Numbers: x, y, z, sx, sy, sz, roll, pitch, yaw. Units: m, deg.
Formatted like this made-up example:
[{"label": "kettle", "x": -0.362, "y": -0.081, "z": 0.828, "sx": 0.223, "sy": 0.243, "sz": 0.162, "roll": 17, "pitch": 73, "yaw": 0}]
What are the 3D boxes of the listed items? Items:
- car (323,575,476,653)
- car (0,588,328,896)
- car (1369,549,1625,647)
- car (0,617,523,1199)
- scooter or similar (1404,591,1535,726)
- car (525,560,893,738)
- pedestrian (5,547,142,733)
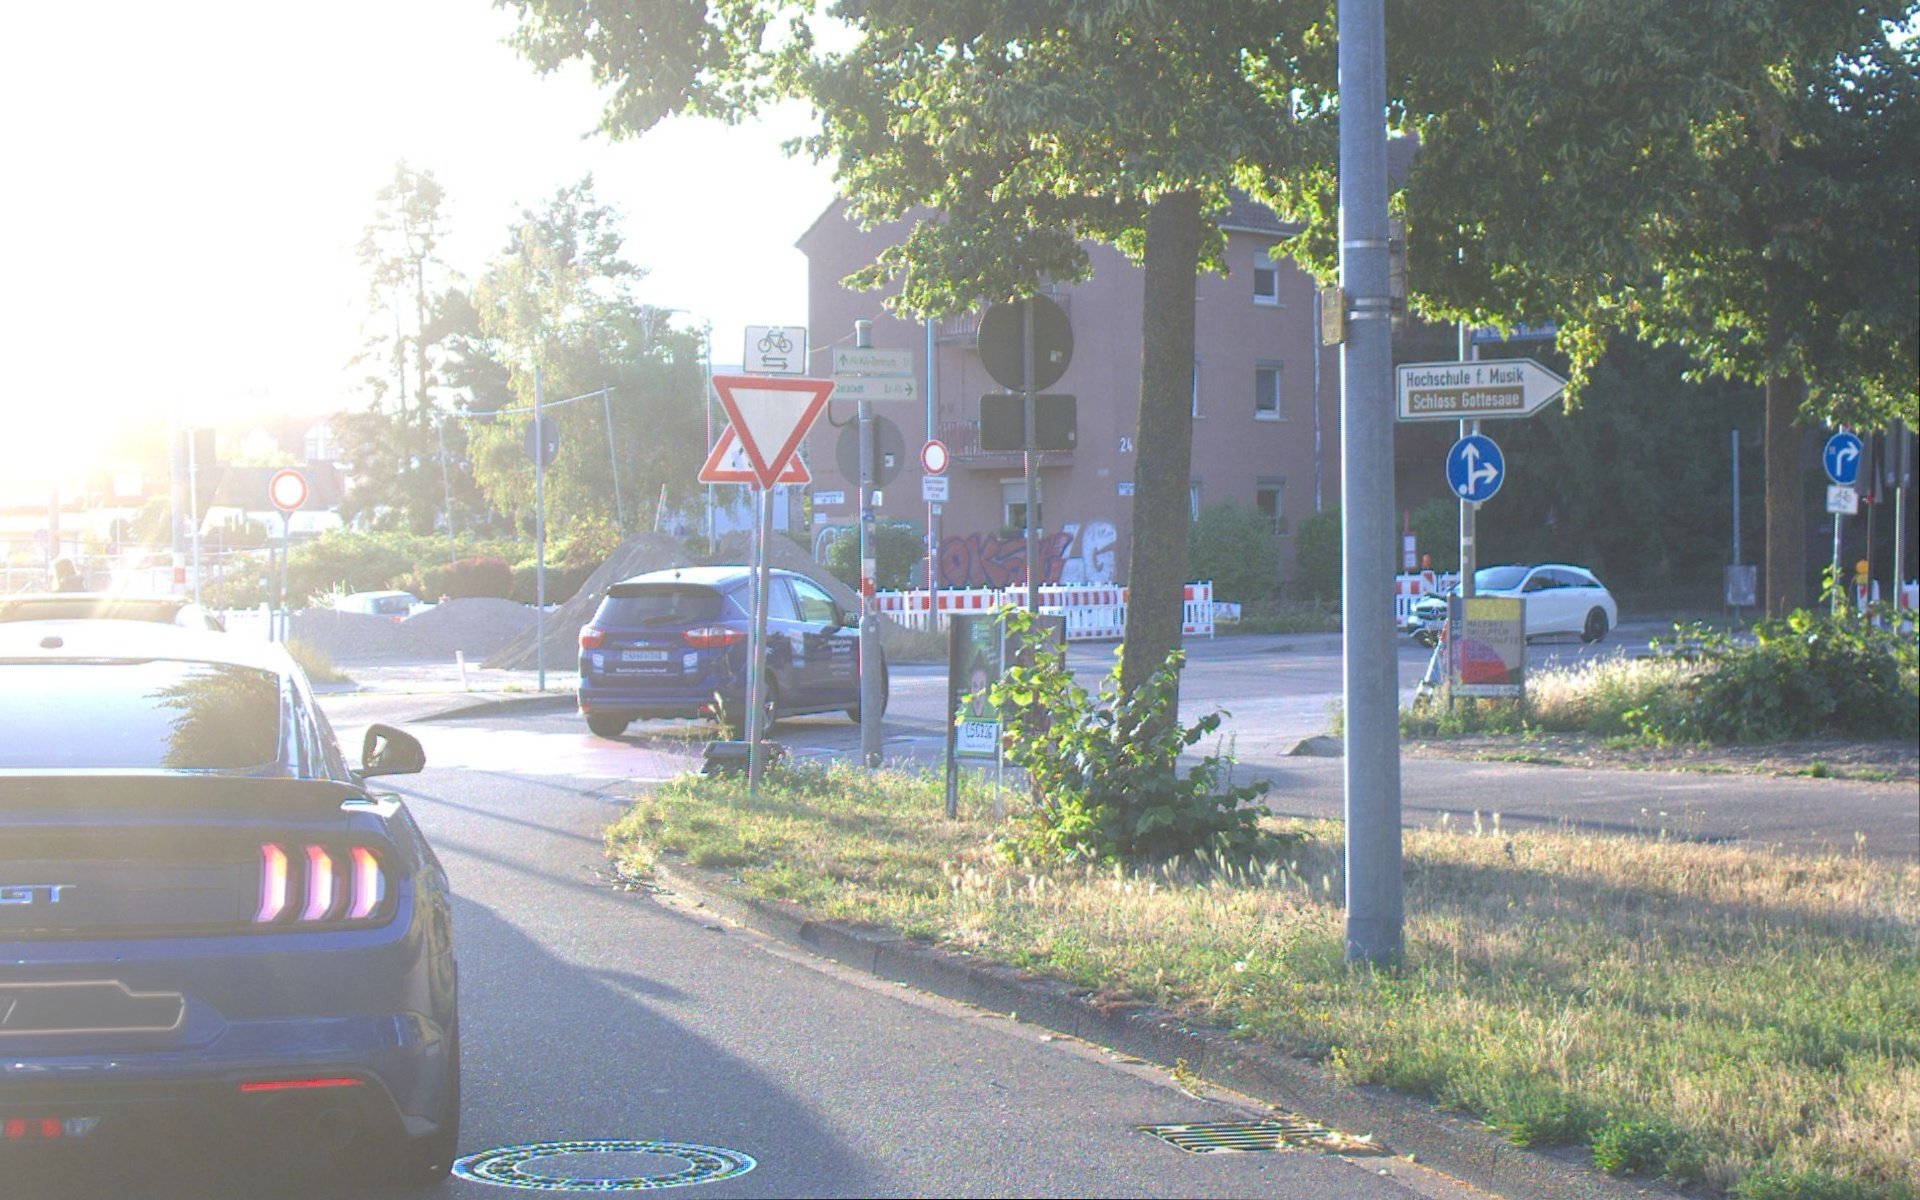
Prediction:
[{"label": "car", "x": -12.801, "y": 0.306, "z": 78.377, "sx": 1.994, "sy": 1.700, "sz": 4.000, "roll": -1, "pitch": 1, "yaw": -33}, {"label": "car", "x": -4.518, "y": 0.688, "z": 18.287, "sx": 1.950, "sy": 1.422, "sz": 4.431, "roll": 2, "pitch": -1, "yaw": -14}, {"label": "car", "x": 9.506, "y": -0.063, "z": 60.673, "sx": 4.644, "sy": 1.448, "sz": 2.074, "roll": -3, "pitch": 5, "yaw": -45}, {"label": "car", "x": -2.507, "y": 0.748, "z": 9.219, "sx": 1.950, "sy": 1.337, "sz": 4.672, "roll": 0, "pitch": 0, "yaw": -16}, {"label": "scooter or similar", "x": 4.751, "y": 0.538, "z": 32.059, "sx": 1.120, "sy": 1.234, "sz": 0.442, "roll": 0, "pitch": 1, "yaw": -11}, {"label": "car", "x": -2.366, "y": 0.421, "z": 33.533, "sx": 1.953, "sy": 1.597, "sz": 4.073, "roll": 1, "pitch": 1, "yaw": 23}, {"label": "pedestrian", "x": -8.179, "y": 0.359, "z": 31.728, "sx": 0.886, "sy": 1.680, "sz": 0.844, "roll": 0, "pitch": 1, "yaw": 37}]
